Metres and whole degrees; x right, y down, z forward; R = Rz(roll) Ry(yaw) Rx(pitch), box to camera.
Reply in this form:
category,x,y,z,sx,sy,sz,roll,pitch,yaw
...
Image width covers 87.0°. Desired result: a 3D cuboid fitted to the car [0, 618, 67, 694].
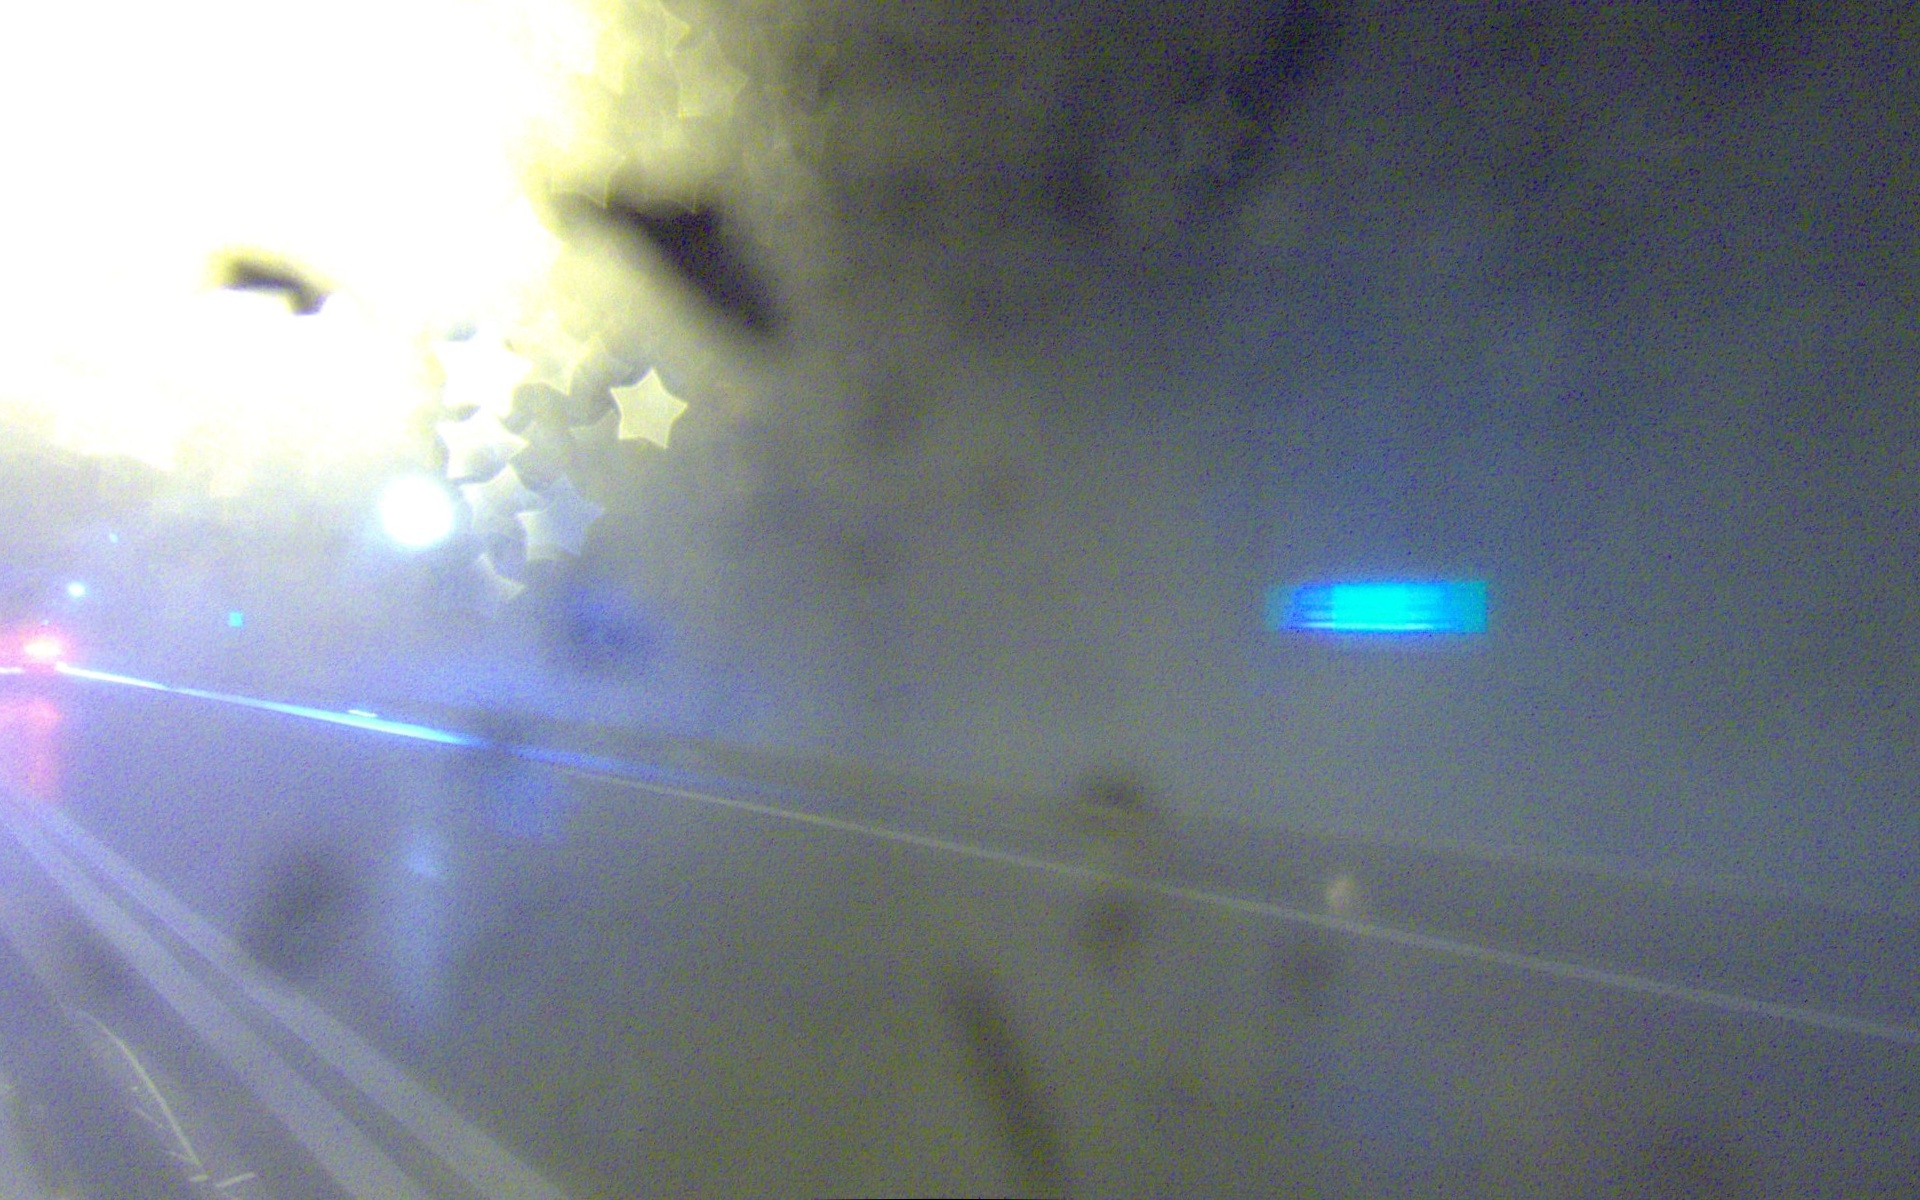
category,x,y,z,sx,sy,sz,roll,pitch,yaw
car,-20.420,1.154,21.373,3.865,1.494,1.776,-2,-1,40
